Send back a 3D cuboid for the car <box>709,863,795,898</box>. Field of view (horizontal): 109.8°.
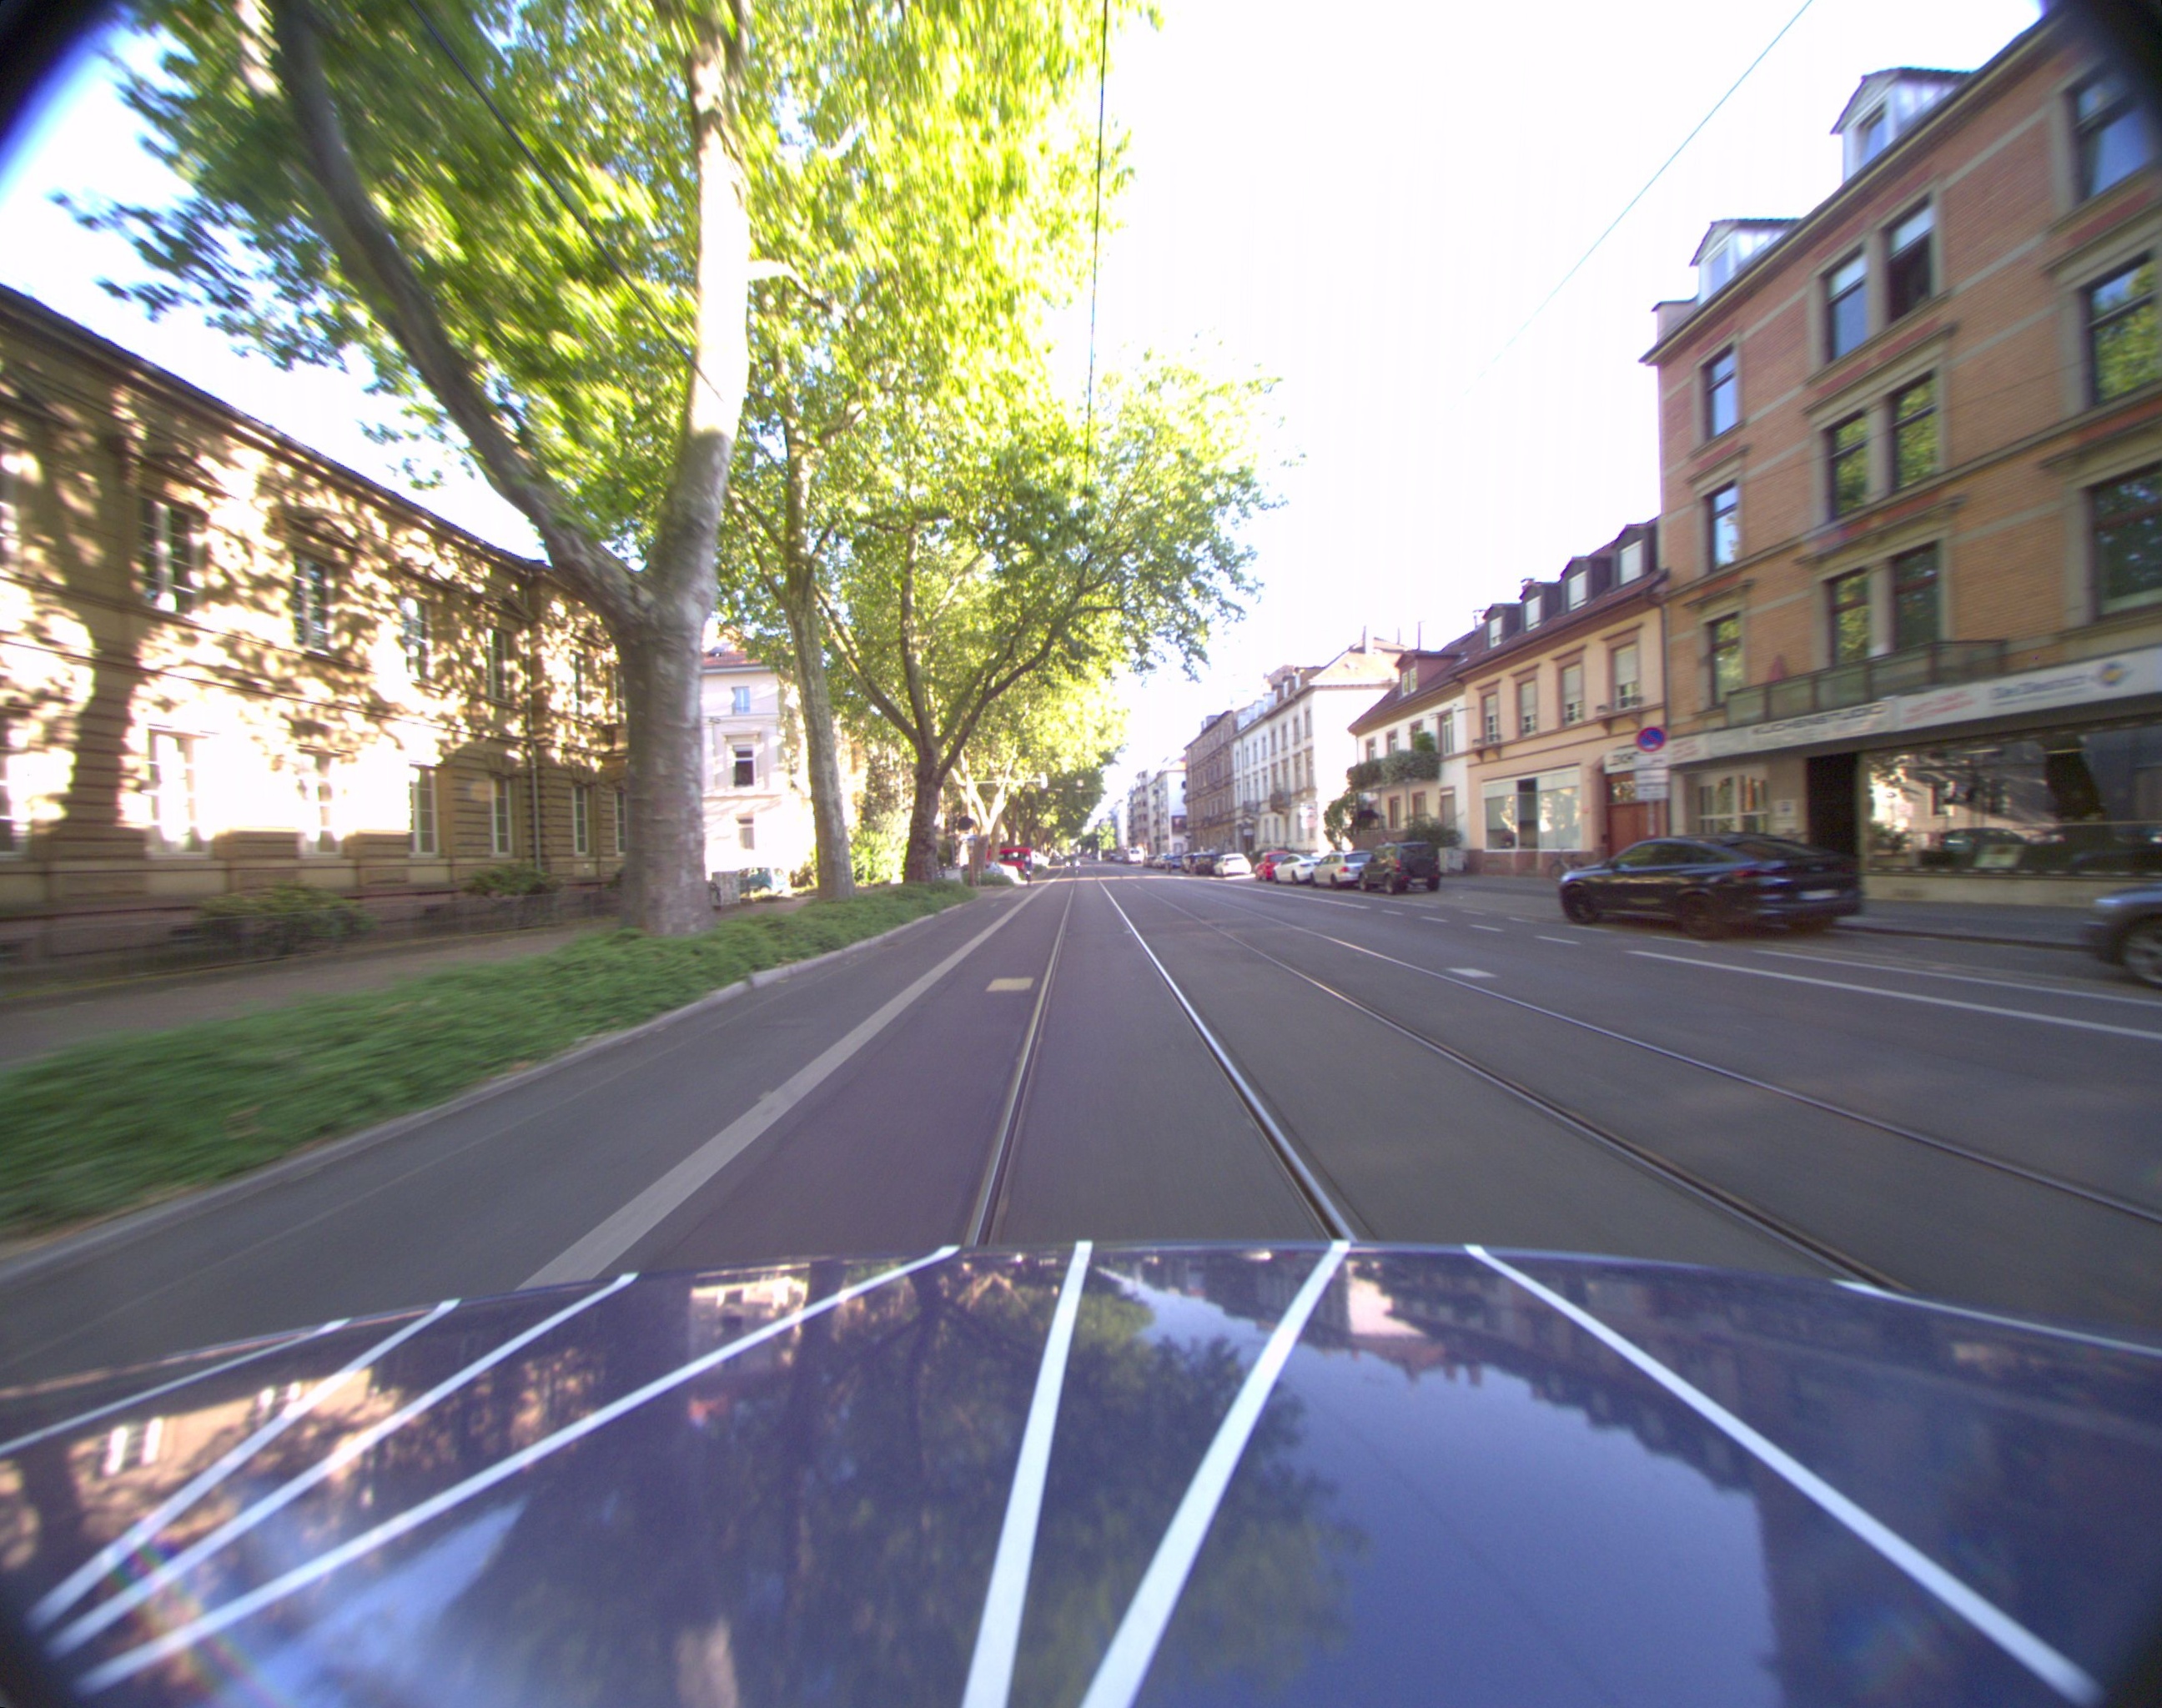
[{"bbox_3d":[-16.824,1.332,38.967,3.572,1.535,1.736,-2,3,-1],"label":"car"}]

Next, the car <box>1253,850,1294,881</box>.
[{"bbox_3d":[10.309,0.589,40.886,1.422,1.502,3.326,-4,0,2],"label":"car"}]

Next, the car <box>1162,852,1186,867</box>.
[{"bbox_3d":[9.389,0.571,76.686,1.798,1.368,4.083,-4,0,-1],"label":"car"}]

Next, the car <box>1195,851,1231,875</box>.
[{"bbox_3d":[9.730,0.621,56.276,1.798,1.587,4.083,-4,0,-1],"label":"car"}]

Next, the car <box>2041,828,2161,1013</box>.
[{"bbox_3d":[11.268,0.603,5.911,1.815,1.695,4.442,-5,0,-2],"label":"car"}]

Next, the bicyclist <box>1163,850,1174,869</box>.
[{"bbox_3d":[6.896,0.415,59.700,0.714,1.508,0.954,-2,1,1],"label":"bicyclist"}]

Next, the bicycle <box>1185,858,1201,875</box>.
[{"bbox_3d":[7.650,0.827,51.921,0.715,1.131,2.120,-2,0,0],"label":"bicycle"}]

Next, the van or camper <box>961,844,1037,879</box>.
[{"bbox_3d":[-6.567,0.566,61.410,5.929,2.484,2.219,-2,3,-3],"label":"van or camper"}]

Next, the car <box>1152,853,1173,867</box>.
[{"bbox_3d":[9.351,0.644,87.785,1.798,1.473,4.083,-4,0,-1],"label":"car"}]

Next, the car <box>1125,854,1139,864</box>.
[{"bbox_3d":[8.260,0.768,123.678,1.808,1.534,3.918,-4,0,-1],"label":"car"}]

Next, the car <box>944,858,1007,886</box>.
[{"bbox_3d":[-6.515,1.085,47.201,3.677,1.535,1.614,-2,3,-1],"label":"car"}]

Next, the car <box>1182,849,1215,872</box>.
[{"bbox_3d":[9.471,0.510,61.502,1.798,1.630,4.254,-4,0,-1],"label":"car"}]

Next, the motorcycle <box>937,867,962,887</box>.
[{"bbox_3d":[-7.116,1.239,41.089,1.274,1.048,0.394,-2,1,-37],"label":"motorcycle"}]

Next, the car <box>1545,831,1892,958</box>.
[{"bbox_3d":[10.854,0.586,13.562,1.999,1.693,4.749,-5,0,-2],"label":"car"}]

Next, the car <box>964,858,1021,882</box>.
[{"bbox_3d":[-6.081,1.105,52.349,3.677,1.411,1.614,-2,3,-1],"label":"car"}]

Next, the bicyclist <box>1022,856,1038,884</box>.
[{"bbox_3d":[-2.670,0.852,40.108,0.714,1.435,0.954,-2,1,1],"label":"bicyclist"}]

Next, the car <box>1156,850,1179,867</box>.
[{"bbox_3d":[9.290,0.494,81.987,1.798,1.617,4.083,-4,0,-1],"label":"car"}]

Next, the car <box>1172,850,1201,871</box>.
[{"bbox_3d":[9.402,0.547,67.820,1.798,1.630,4.575,-4,0,-1],"label":"car"}]

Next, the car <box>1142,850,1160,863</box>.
[{"bbox_3d":[9.044,0.368,98.073,1.808,1.534,3.918,-4,0,-1],"label":"car"}]

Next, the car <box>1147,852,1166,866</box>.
[{"bbox_3d":[9.184,0.560,92.726,1.808,1.534,3.918,-4,0,-1],"label":"car"}]

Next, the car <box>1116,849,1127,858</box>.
[{"bbox_3d":[8.128,-0.120,153.836,1.808,1.534,3.918,-4,0,-3],"label":"car"}]

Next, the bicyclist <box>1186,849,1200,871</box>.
[{"bbox_3d":[7.633,0.416,51.820,0.715,1.508,0.953,-2,1,0],"label":"bicyclist"}]

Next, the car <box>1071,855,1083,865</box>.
[{"bbox_3d":[-0.604,0.846,112.260,1.740,1.365,3.918,-4,0,-1],"label":"car"}]

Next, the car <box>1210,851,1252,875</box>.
[{"bbox_3d":[10.066,0.602,51.138,1.868,1.423,4.083,-4,0,-1],"label":"car"}]

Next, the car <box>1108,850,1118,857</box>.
[{"bbox_3d":[7.136,-0.079,169.872,1.808,1.534,3.918,-4,0,-3],"label":"car"}]

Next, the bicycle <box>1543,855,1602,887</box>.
[{"bbox_3d":[15.845,0.523,24.544,0.505,0.963,2.120,-2,0,0],"label":"bicycle"}]

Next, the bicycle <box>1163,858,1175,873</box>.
[{"bbox_3d":[6.918,0.916,59.658,0.714,1.131,2.120,-2,0,1],"label":"bicycle"}]

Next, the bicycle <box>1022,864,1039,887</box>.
[{"bbox_3d":[-2.665,1.136,40.157,0.715,1.131,2.120,-2,0,0],"label":"bicycle"}]

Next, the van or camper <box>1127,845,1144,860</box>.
[{"bbox_3d":[8.424,-0.245,117.997,1.945,2.267,4.597,-4,0,-1],"label":"van or camper"}]

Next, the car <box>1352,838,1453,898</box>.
[{"bbox_3d":[10.740,0.427,25.653,1.729,1.736,3.625,-5,0,0],"label":"car"}]

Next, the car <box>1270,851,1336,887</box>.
[{"bbox_3d":[10.256,0.659,35.476,1.587,1.482,4.469,-4,0,-1],"label":"car"}]

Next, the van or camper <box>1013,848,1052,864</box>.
[{"bbox_3d":[-7.734,0.281,121.564,6.099,2.417,2.428,-2,0,0],"label":"van or camper"}]

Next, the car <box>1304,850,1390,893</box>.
[{"bbox_3d":[10.386,0.637,30.052,1.668,1.446,4.403,-4,0,-1],"label":"car"}]
